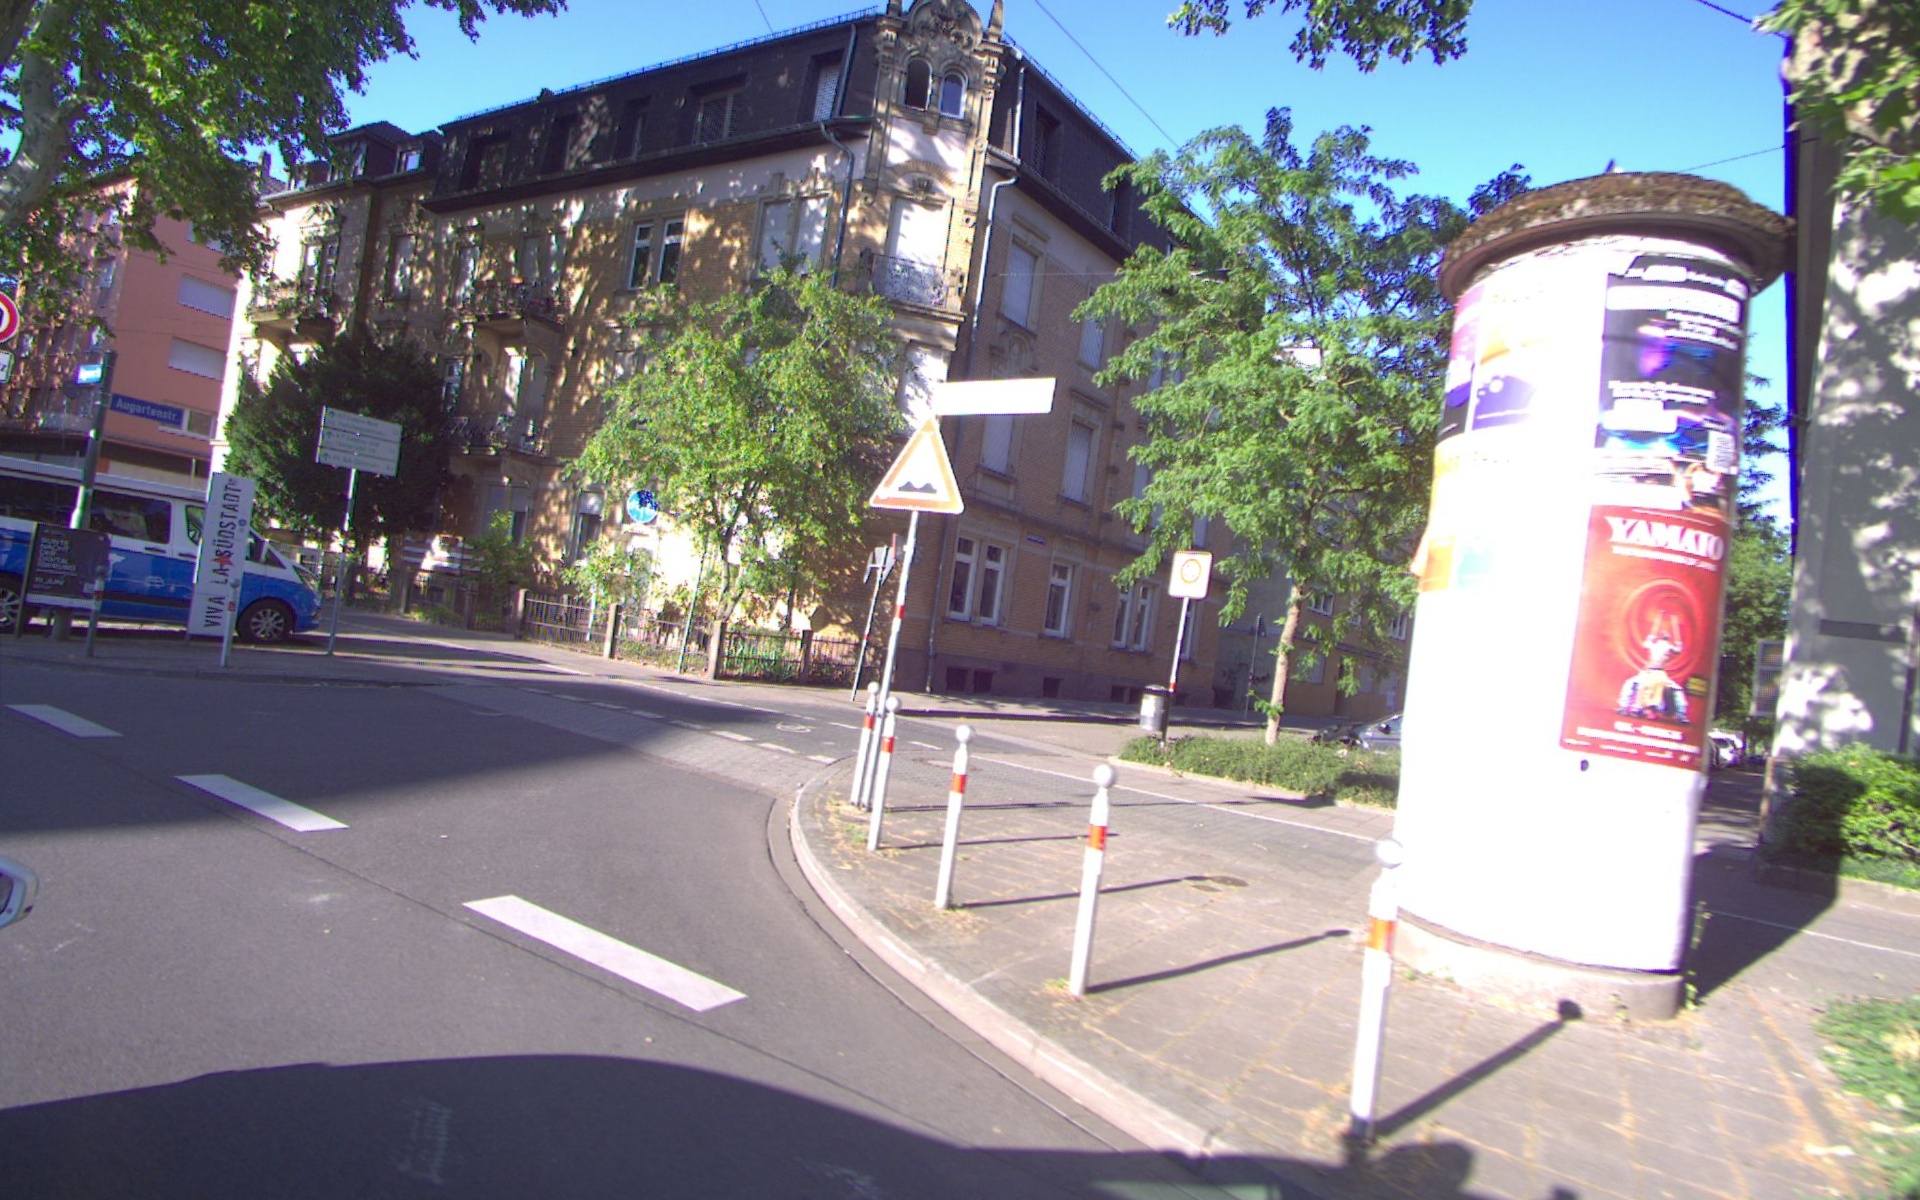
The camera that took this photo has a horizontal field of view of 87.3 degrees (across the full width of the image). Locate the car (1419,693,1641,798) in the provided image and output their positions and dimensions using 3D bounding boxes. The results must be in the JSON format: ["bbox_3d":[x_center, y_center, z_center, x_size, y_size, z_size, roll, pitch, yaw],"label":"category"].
[{"bbox_3d":[12.693,3.204,22.544,3.944,1.601,1.723,6,-2,41],"label":"car"}]

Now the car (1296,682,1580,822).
[{"bbox_3d":[8.084,2.512,17.212,3.944,1.601,1.723,6,-2,41],"label":"car"}]

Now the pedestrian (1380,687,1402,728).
[{"bbox_3d":[19.463,4.868,45.427,0.515,1.768,0.922,7,-1,38],"label":"pedestrian"}]

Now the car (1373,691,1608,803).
[{"bbox_3d":[11.069,3.014,21.133,3.944,1.601,1.723,6,-2,41],"label":"car"}]

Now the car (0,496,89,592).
[{"bbox_3d":[-18.540,-1.214,18.171,1.760,1.638,3.789,7,-1,29],"label":"car"}]

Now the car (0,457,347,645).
[{"bbox_3d":[-11.410,-0.628,13.509,2.156,2.038,4.856,7,-1,28],"label":"car"}]

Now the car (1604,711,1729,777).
[{"bbox_3d":[29.181,5.930,41.606,3.944,2.018,1.793,6,-2,41],"label":"car"}]

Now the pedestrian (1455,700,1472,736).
[{"bbox_3d":[26.275,6.153,52.532,0.515,1.768,0.488,7,-1,38],"label":"pedestrian"}]
